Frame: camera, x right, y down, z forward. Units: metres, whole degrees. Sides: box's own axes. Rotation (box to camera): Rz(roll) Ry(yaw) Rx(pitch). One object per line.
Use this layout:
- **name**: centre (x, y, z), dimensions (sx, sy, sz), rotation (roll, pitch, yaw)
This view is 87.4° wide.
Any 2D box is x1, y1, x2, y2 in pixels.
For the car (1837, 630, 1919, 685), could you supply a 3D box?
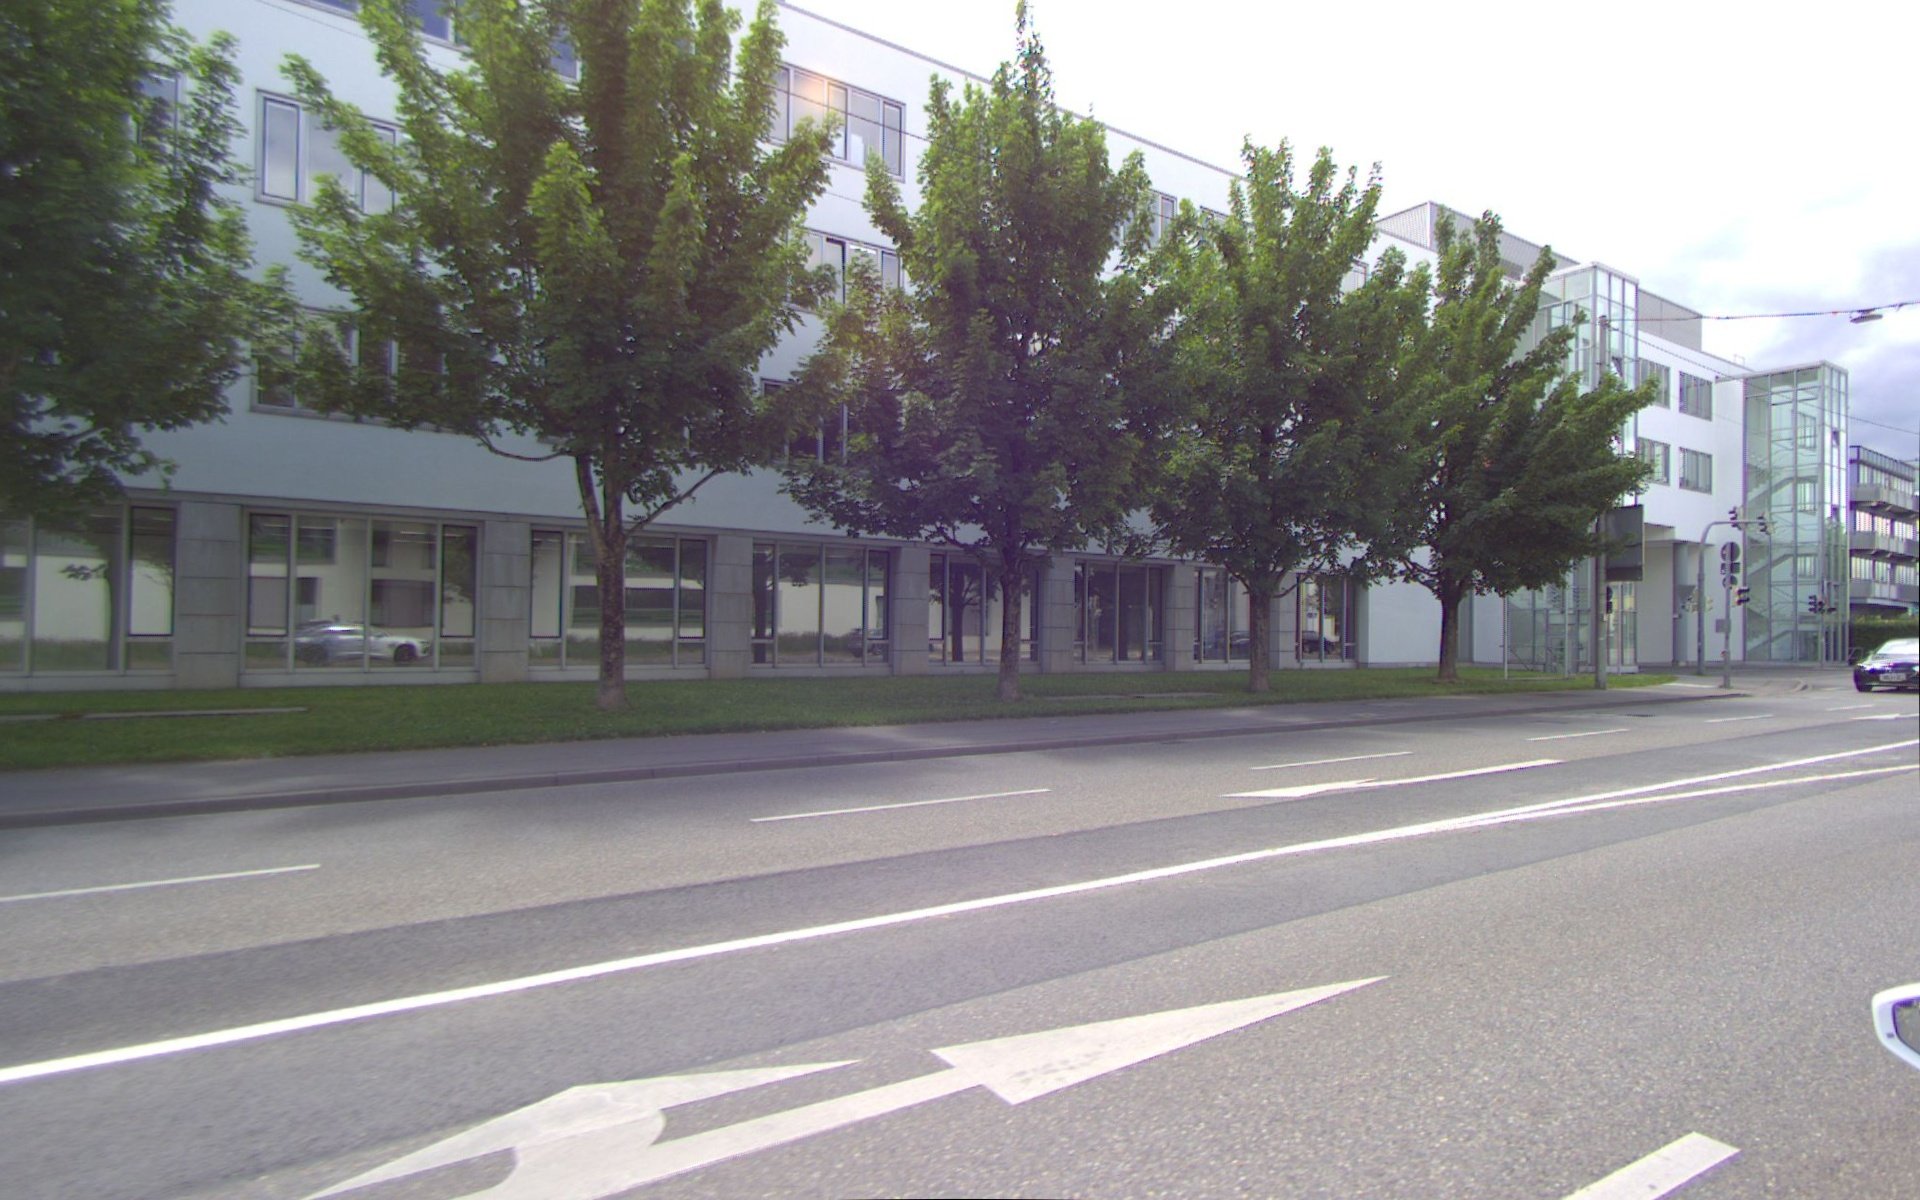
- **car**: centre (27.263, 1.637, 28.757), dimensions (4.997, 1.464, 2.012), rotation (2, -4, -34)
